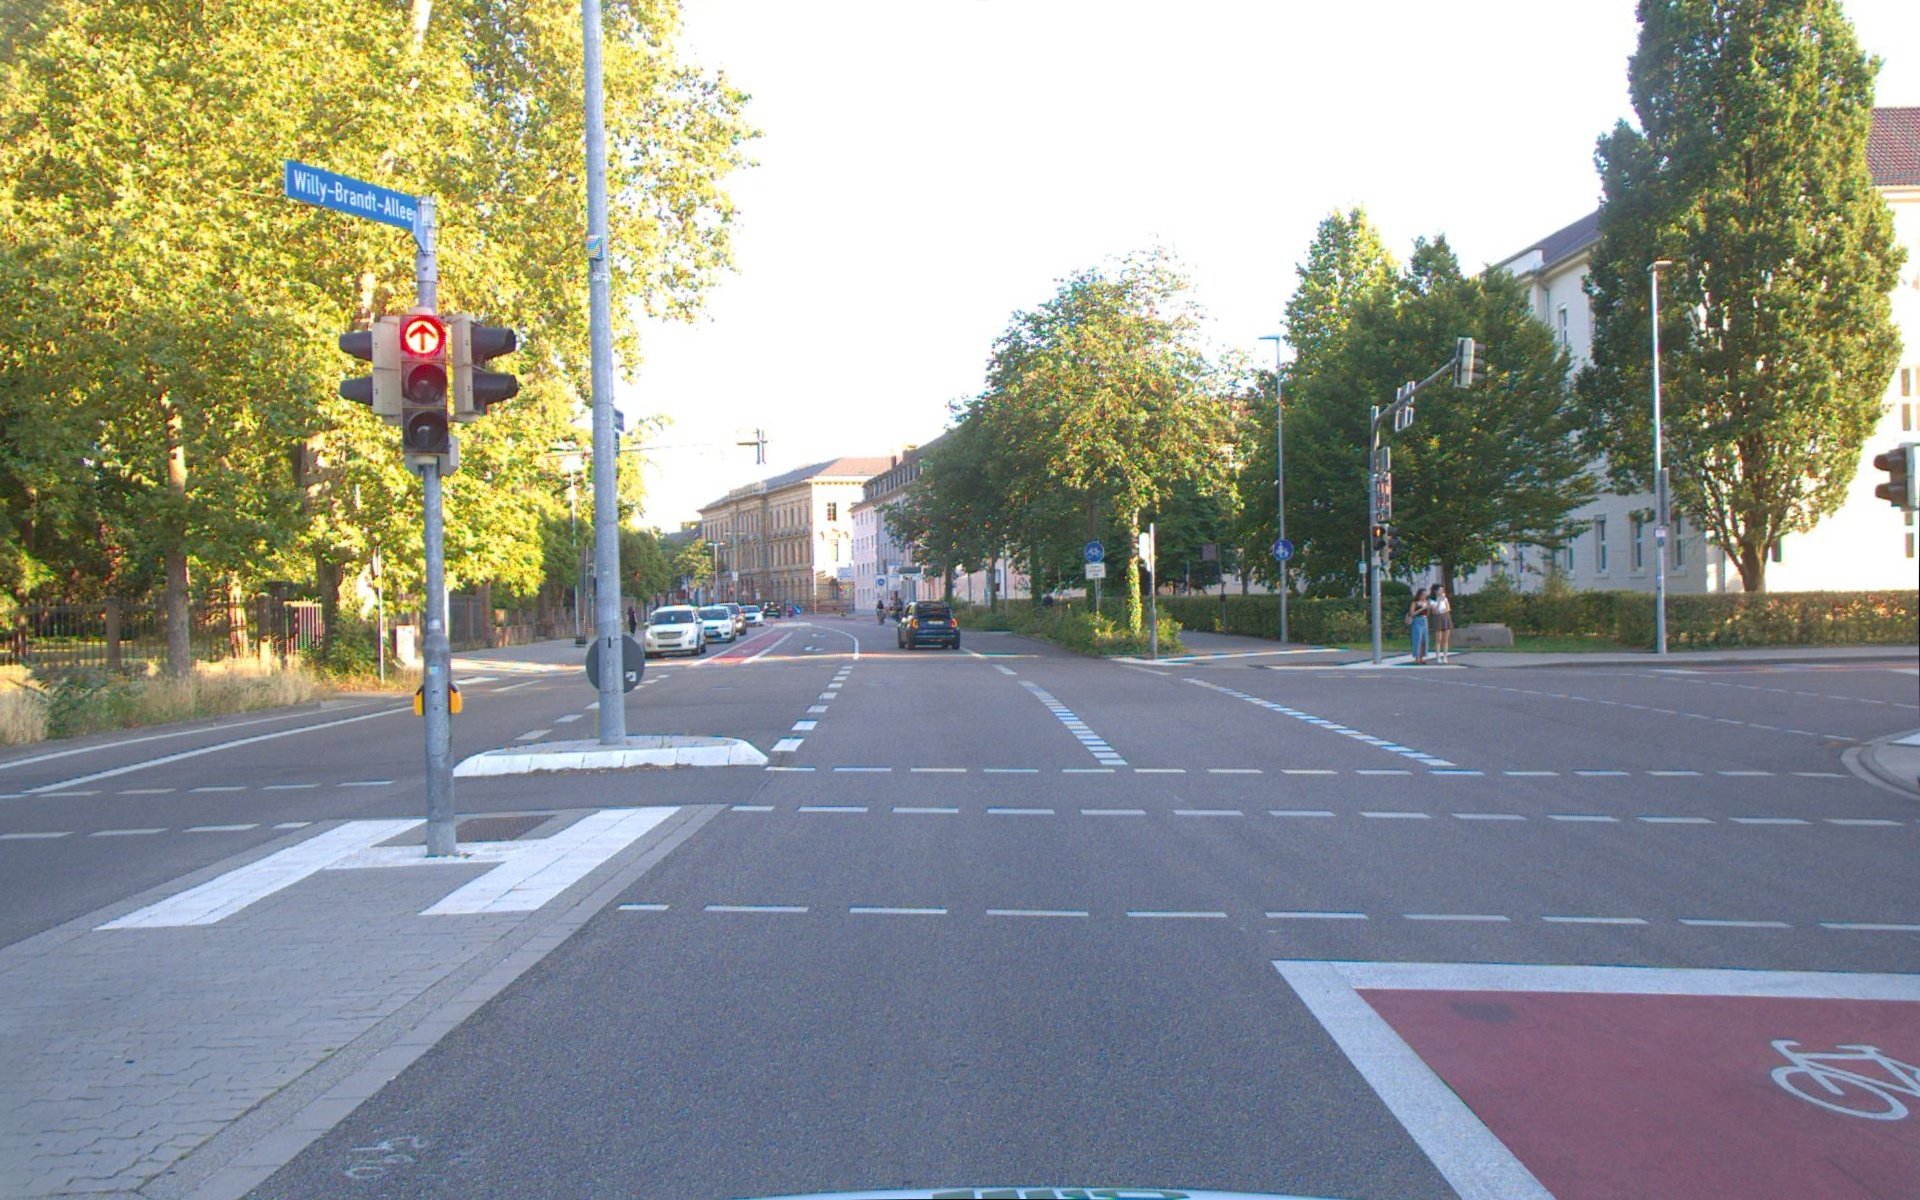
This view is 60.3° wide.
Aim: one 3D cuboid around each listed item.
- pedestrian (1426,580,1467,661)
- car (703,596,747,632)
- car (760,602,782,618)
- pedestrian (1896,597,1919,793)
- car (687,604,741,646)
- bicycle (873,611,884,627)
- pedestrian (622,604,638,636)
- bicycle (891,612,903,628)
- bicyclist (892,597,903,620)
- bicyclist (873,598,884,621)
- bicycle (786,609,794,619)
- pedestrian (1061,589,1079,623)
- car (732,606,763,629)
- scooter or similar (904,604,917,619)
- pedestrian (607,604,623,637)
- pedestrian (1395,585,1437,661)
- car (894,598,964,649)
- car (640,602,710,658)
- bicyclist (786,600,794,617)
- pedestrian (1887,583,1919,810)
[{"bbox_3d":[10.890,0.443,37.032,0.667,1.784,0.688,-1,0,-1],"label":"pedestrian"},{"bbox_3d":[-12.069,0.697,85.172,1.879,1.653,4.634,-3,0,-5],"label":"car"},{"bbox_3d":[-19.433,1.033,169.722,1.882,1.442,4.758,-3,0,-11],"label":"car"},{"bbox_3d":[7.980,0.747,13.106,0.769,1.549,0.738,-1,0,13],"label":"pedestrian"},{"bbox_3d":[-10.400,1.031,70.257,1.879,1.611,4.669,-3,0,-5],"label":"car"},{"bbox_3d":[-5.262,1.221,106.401,0.639,1.033,2.195,1,0,-5],"label":"bicycle"},{"bbox_3d":[-17.162,1.035,86.120,0.667,1.650,0.688,-1,0,-1],"label":"pedestrian"},{"bbox_3d":[-4.061,1.277,106.695,0.639,1.033,2.195,1,0,-5],"label":"bicycle"},{"bbox_3d":[-4.059,0.544,106.851,0.639,1.501,0.939,1,0,-6],"label":"bicyclist"},{"bbox_3d":[-5.244,0.634,106.379,0.639,1.471,0.878,1,0,-5],"label":"bicyclist"},{"bbox_3d":[-17.811,1.505,173.192,0.640,1.033,2.192,1,0,-10],"label":"bicycle"},{"bbox_3d":[5.840,0.329,88.101,0.756,1.769,0.805,-1,0,-10],"label":"pedestrian"},{"bbox_3d":[-14.766,1.206,115.294,1.879,1.442,4.765,-3,0,-5],"label":"car"},{"bbox_3d":[-4.371,1.013,145.260,0.619,1.360,2.391,-1,0,-14],"label":"scooter or similar"},{"bbox_3d":[-17.966,1.067,86.082,0.667,1.650,0.688,-1,0,-1],"label":"pedestrian"},{"bbox_3d":[10.204,0.501,37.011,0.667,1.650,0.845,-1,0,-1],"label":"pedestrian"},{"bbox_3d":[-1.029,0.726,53.277,1.832,1.536,3.994,-1,0,-7],"label":"car"},{"bbox_3d":[-9.583,0.975,55.940,1.879,1.725,4.422,-3,0,-5],"label":"car"},{"bbox_3d":[-17.806,0.907,173.218,0.640,1.727,0.954,1,-1,-11],"label":"bicyclist"},{"bbox_3d":[7.562,0.710,12.493,0.757,1.689,0.722,-1,0,12],"label":"pedestrian"}]
